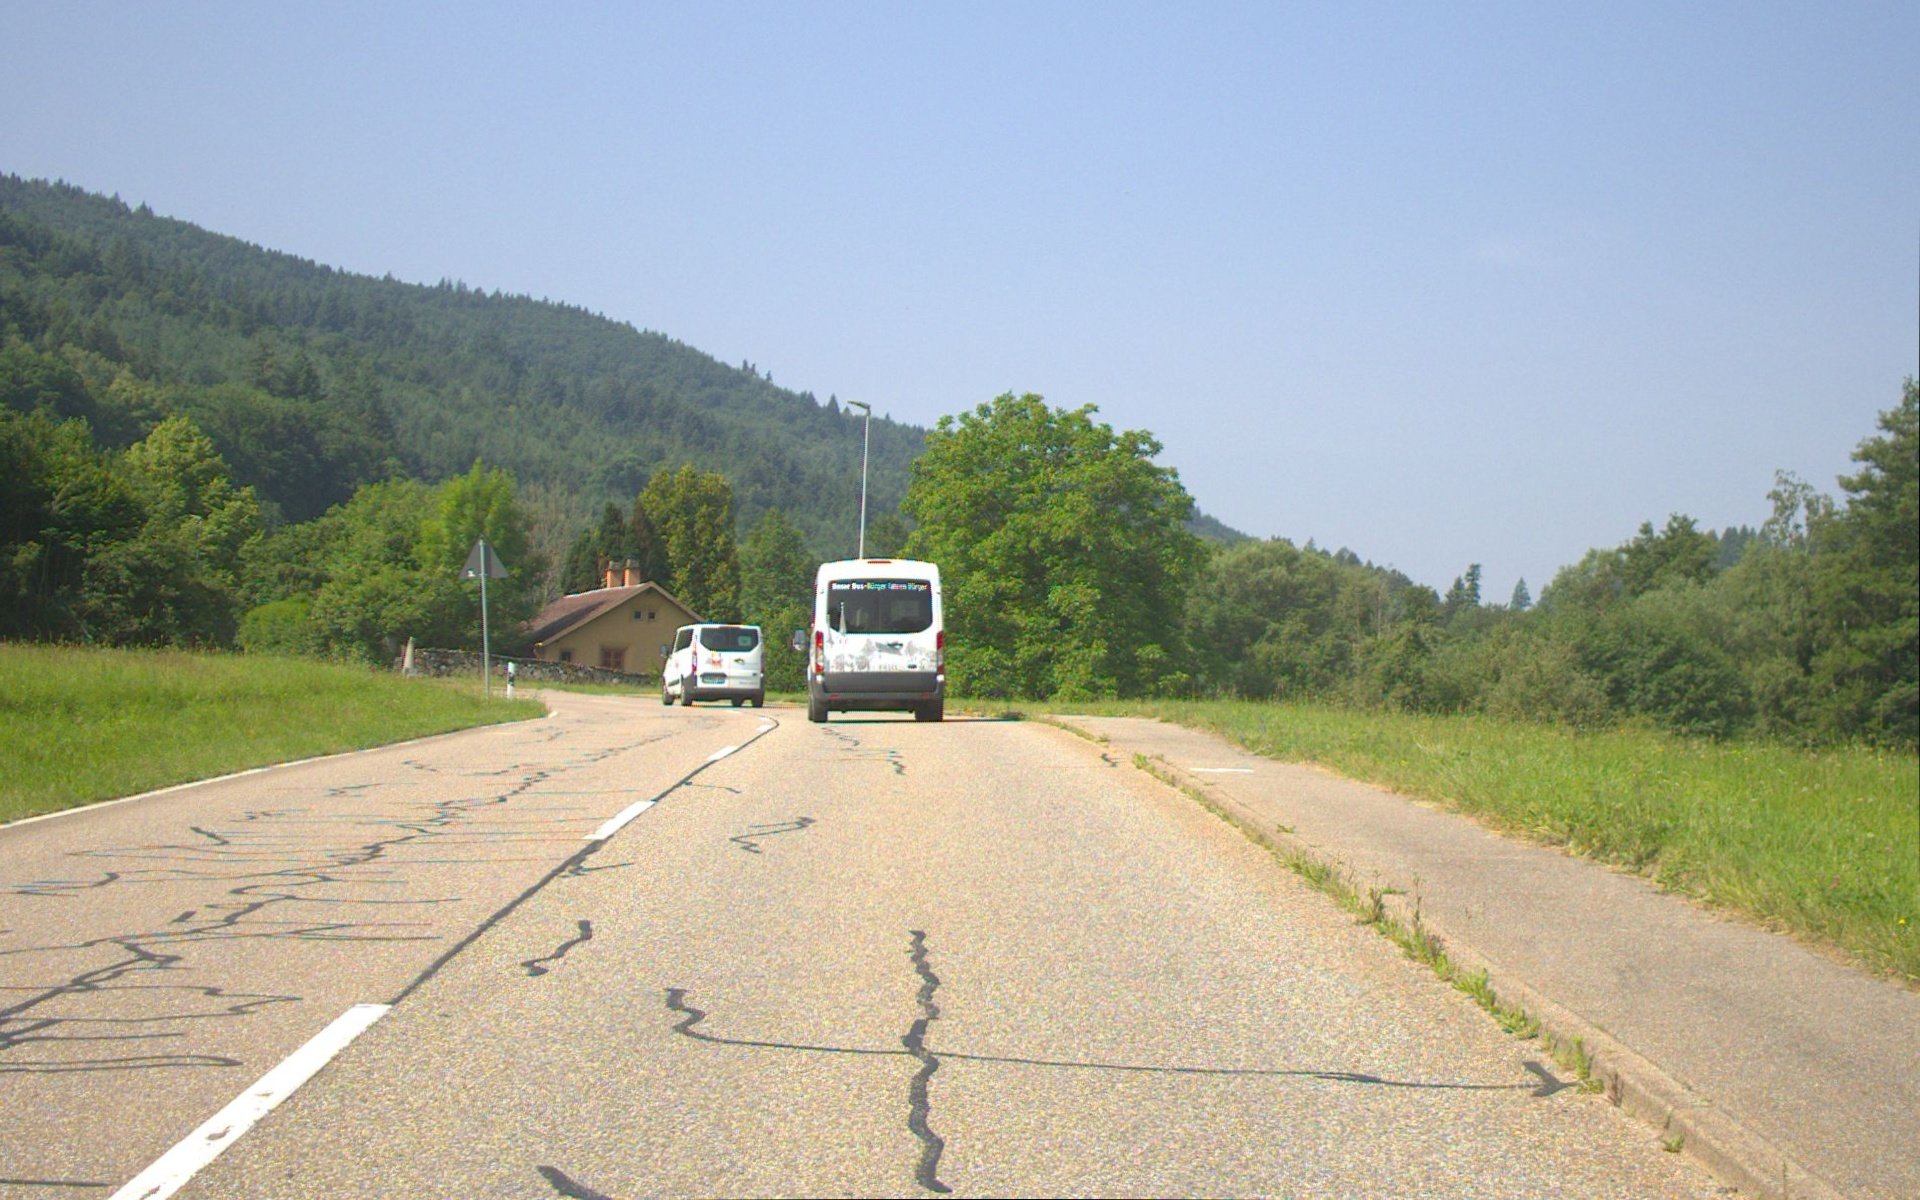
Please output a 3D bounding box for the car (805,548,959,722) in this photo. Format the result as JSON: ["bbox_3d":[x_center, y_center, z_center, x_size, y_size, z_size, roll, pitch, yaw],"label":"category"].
[{"bbox_3d":[-1.216,0.571,53.859,2.222,2.517,4.984,-2,-1,-1],"label":"car"}]

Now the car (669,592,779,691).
[{"bbox_3d":[-5.803,1.051,84.100,2.222,2.279,4.985,-2,-1,-9],"label":"car"}]
